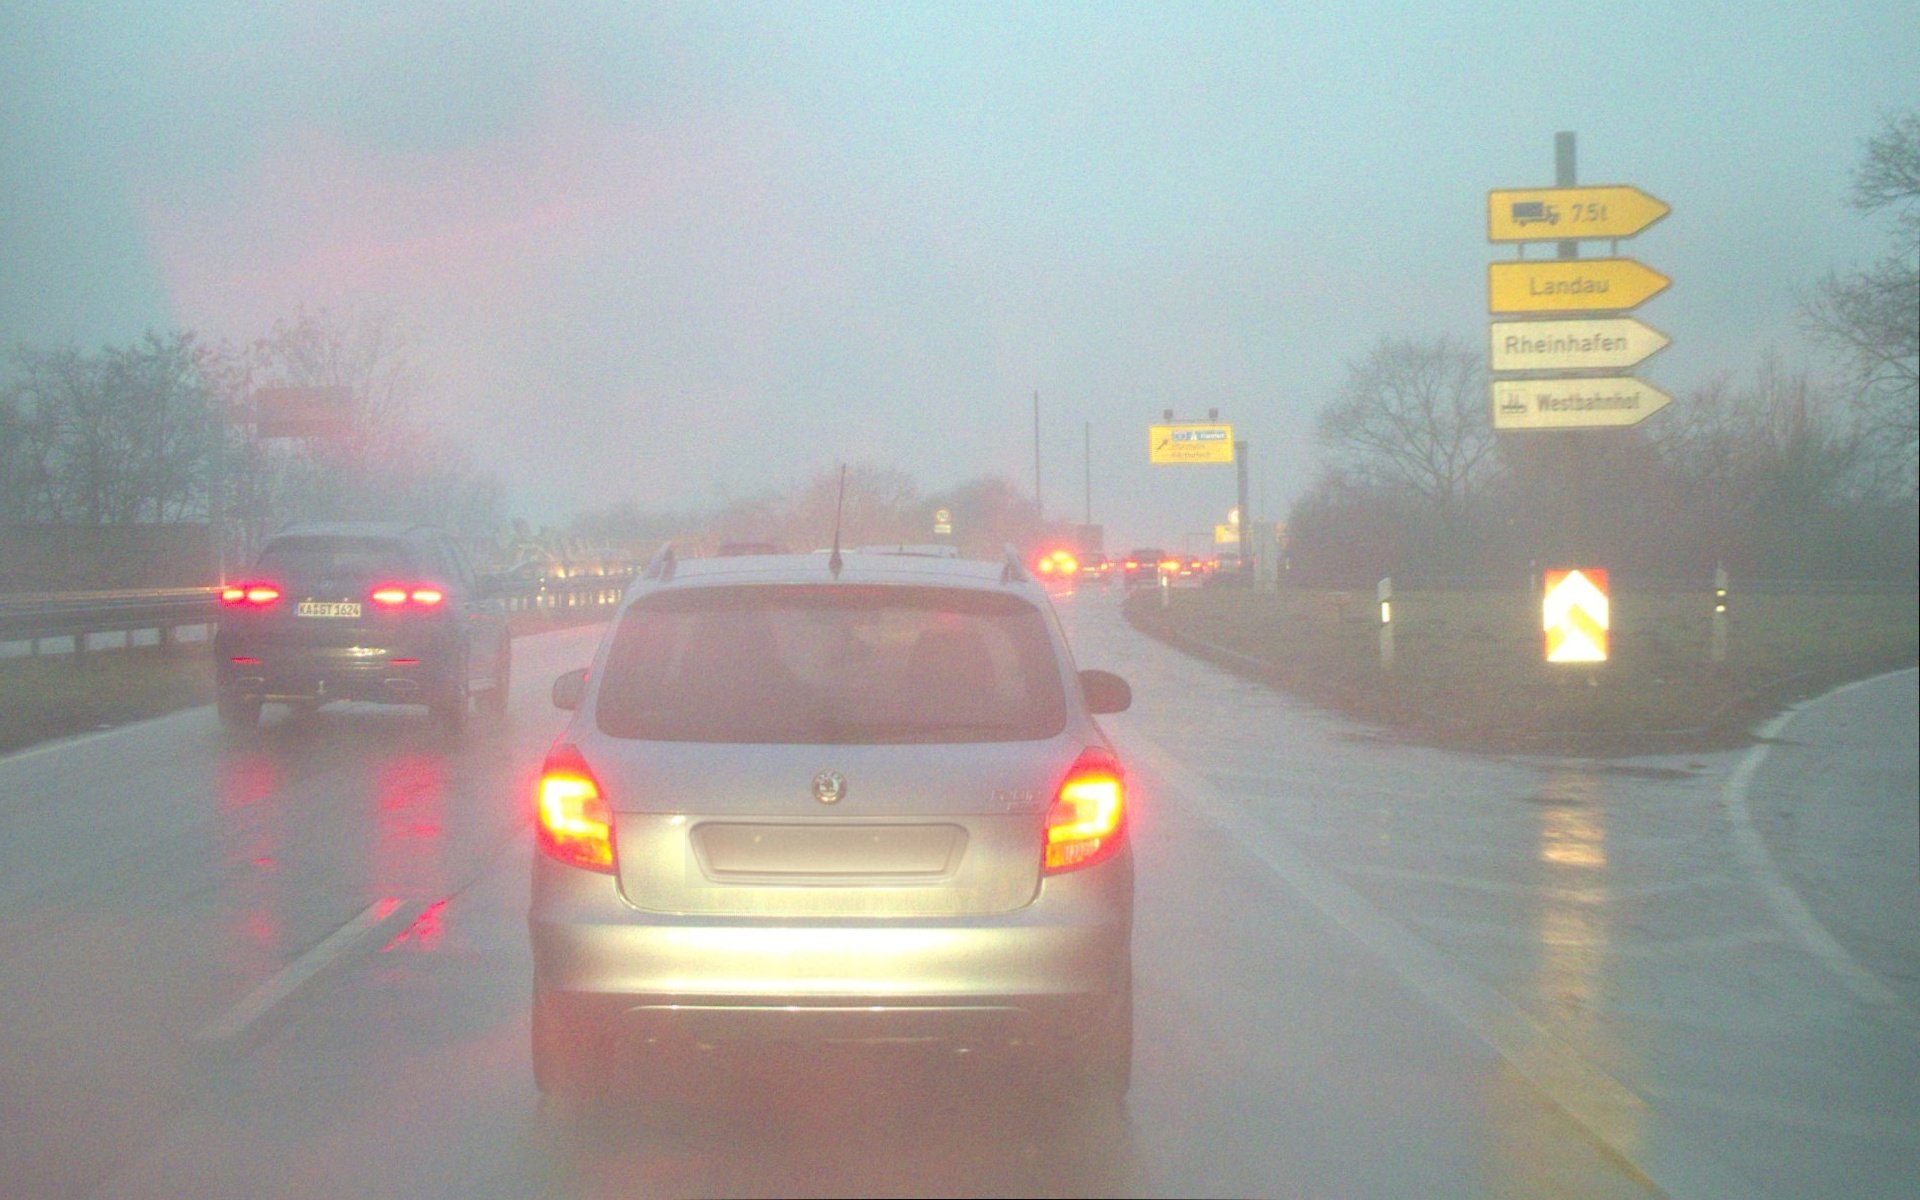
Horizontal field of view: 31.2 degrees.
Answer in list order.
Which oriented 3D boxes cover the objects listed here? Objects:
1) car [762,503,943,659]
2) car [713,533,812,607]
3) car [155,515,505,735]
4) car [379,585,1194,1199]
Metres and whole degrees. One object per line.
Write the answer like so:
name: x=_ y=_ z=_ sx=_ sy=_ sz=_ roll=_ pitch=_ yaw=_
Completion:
car: x=-1.245 y=-0.264 z=41.710 sx=1.897 sy=1.761 sz=4.308 roll=-1 pitch=1 yaw=2
car: x=-4.285 y=-0.672 z=74.956 sx=1.789 sy=1.540 sz=4.000 roll=-1 pitch=1 yaw=2
car: x=-4.960 y=0.158 z=27.680 sx=1.993 sy=1.596 sz=4.309 roll=1 pitch=1 yaw=0
car: x=-0.365 y=0.718 z=10.523 sx=1.993 sy=1.495 sz=4.137 roll=-1 pitch=0 yaw=2
